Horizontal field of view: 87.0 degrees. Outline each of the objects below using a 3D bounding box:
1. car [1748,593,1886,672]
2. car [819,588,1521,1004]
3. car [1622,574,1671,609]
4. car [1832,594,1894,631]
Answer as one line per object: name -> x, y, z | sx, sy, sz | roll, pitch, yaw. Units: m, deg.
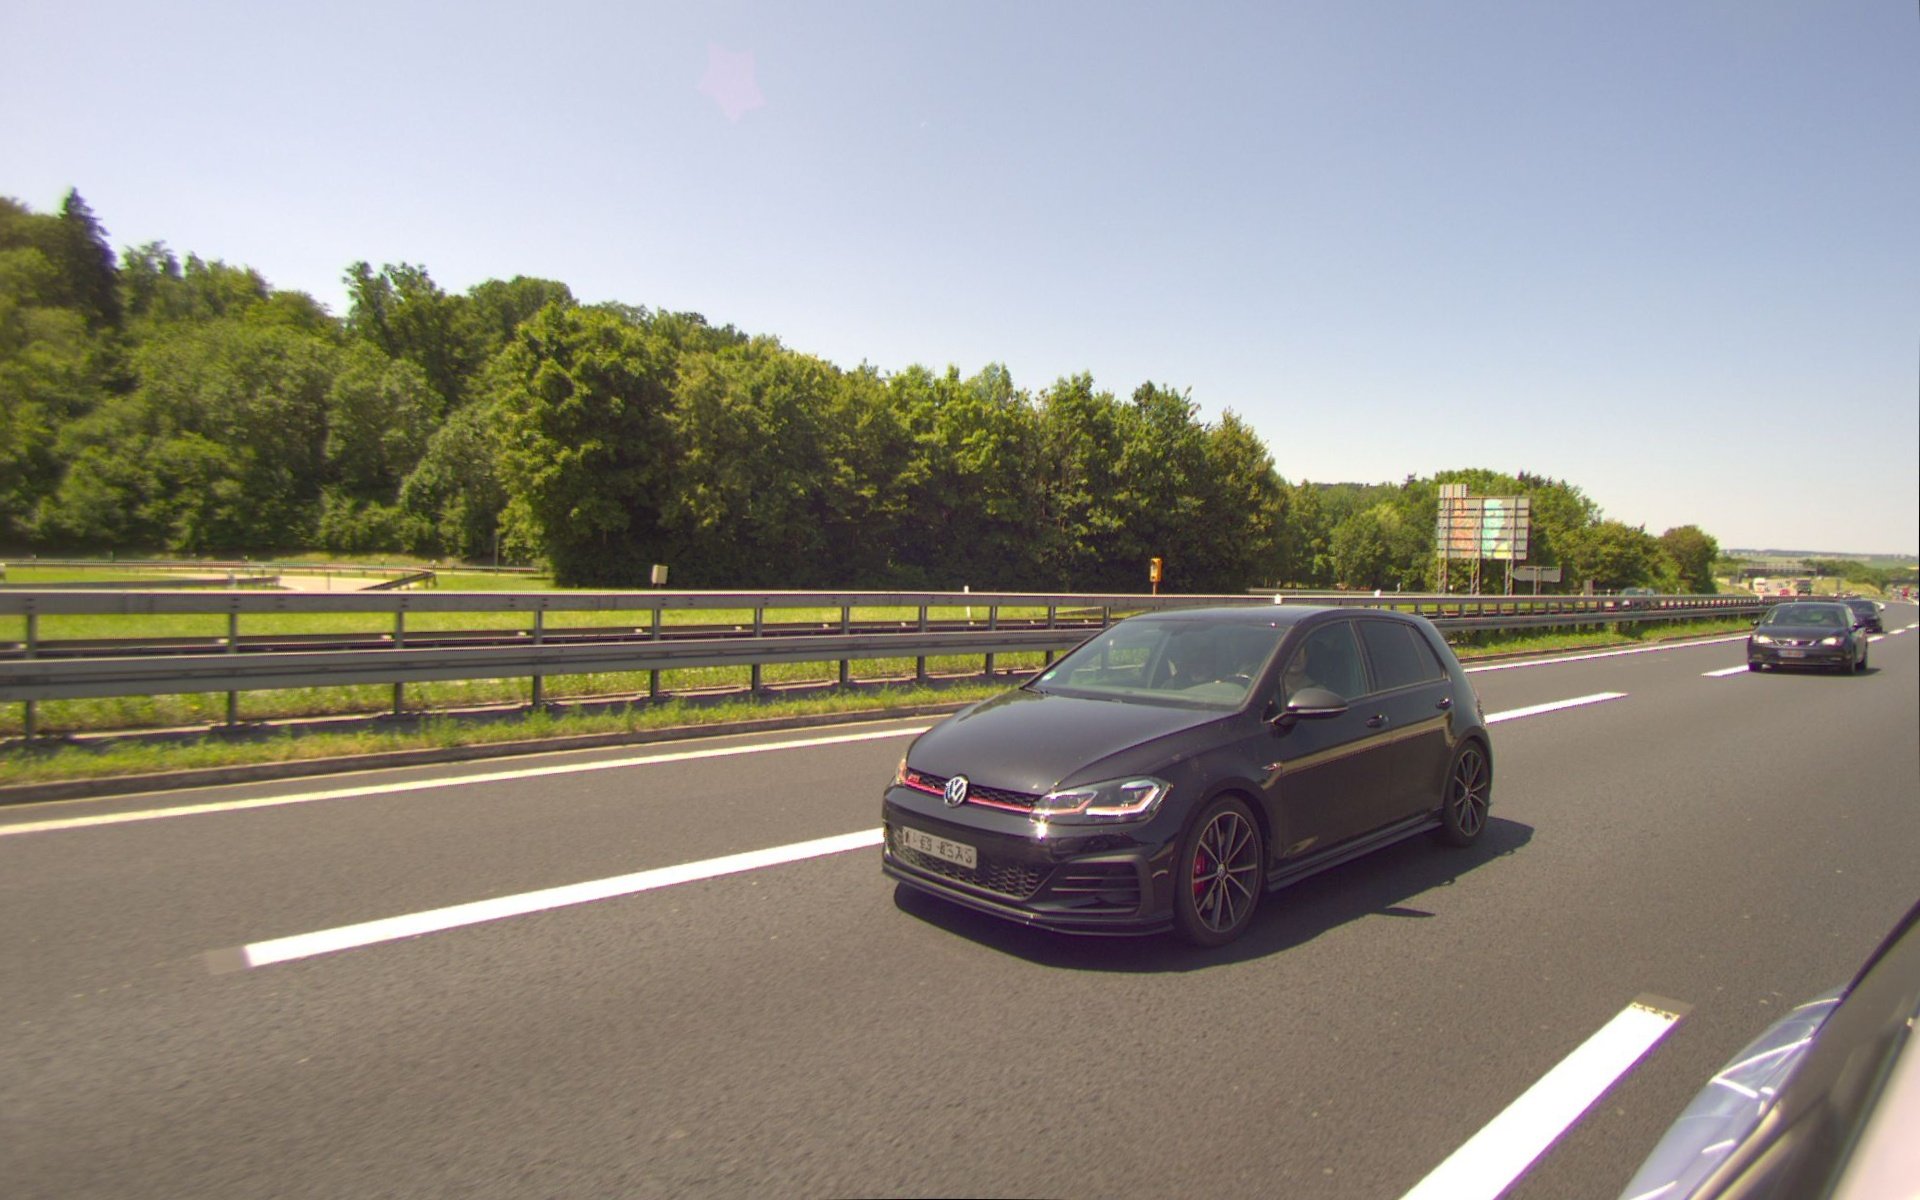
car -> 17.800, 0.602, 20.971 | 3.698, 1.417, 1.779 | -1, 2, -43
car -> 1.357, 0.678, 5.581 | 3.897, 1.453, 1.798 | -1, 2, -41
car -> 41.701, -0.539, 61.475 | 1.992, 2.038, 3.941 | 2, 2, 41
car -> 39.720, 0.529, 44.494 | 1.887, 1.491, 3.806 | 1, 2, 44
